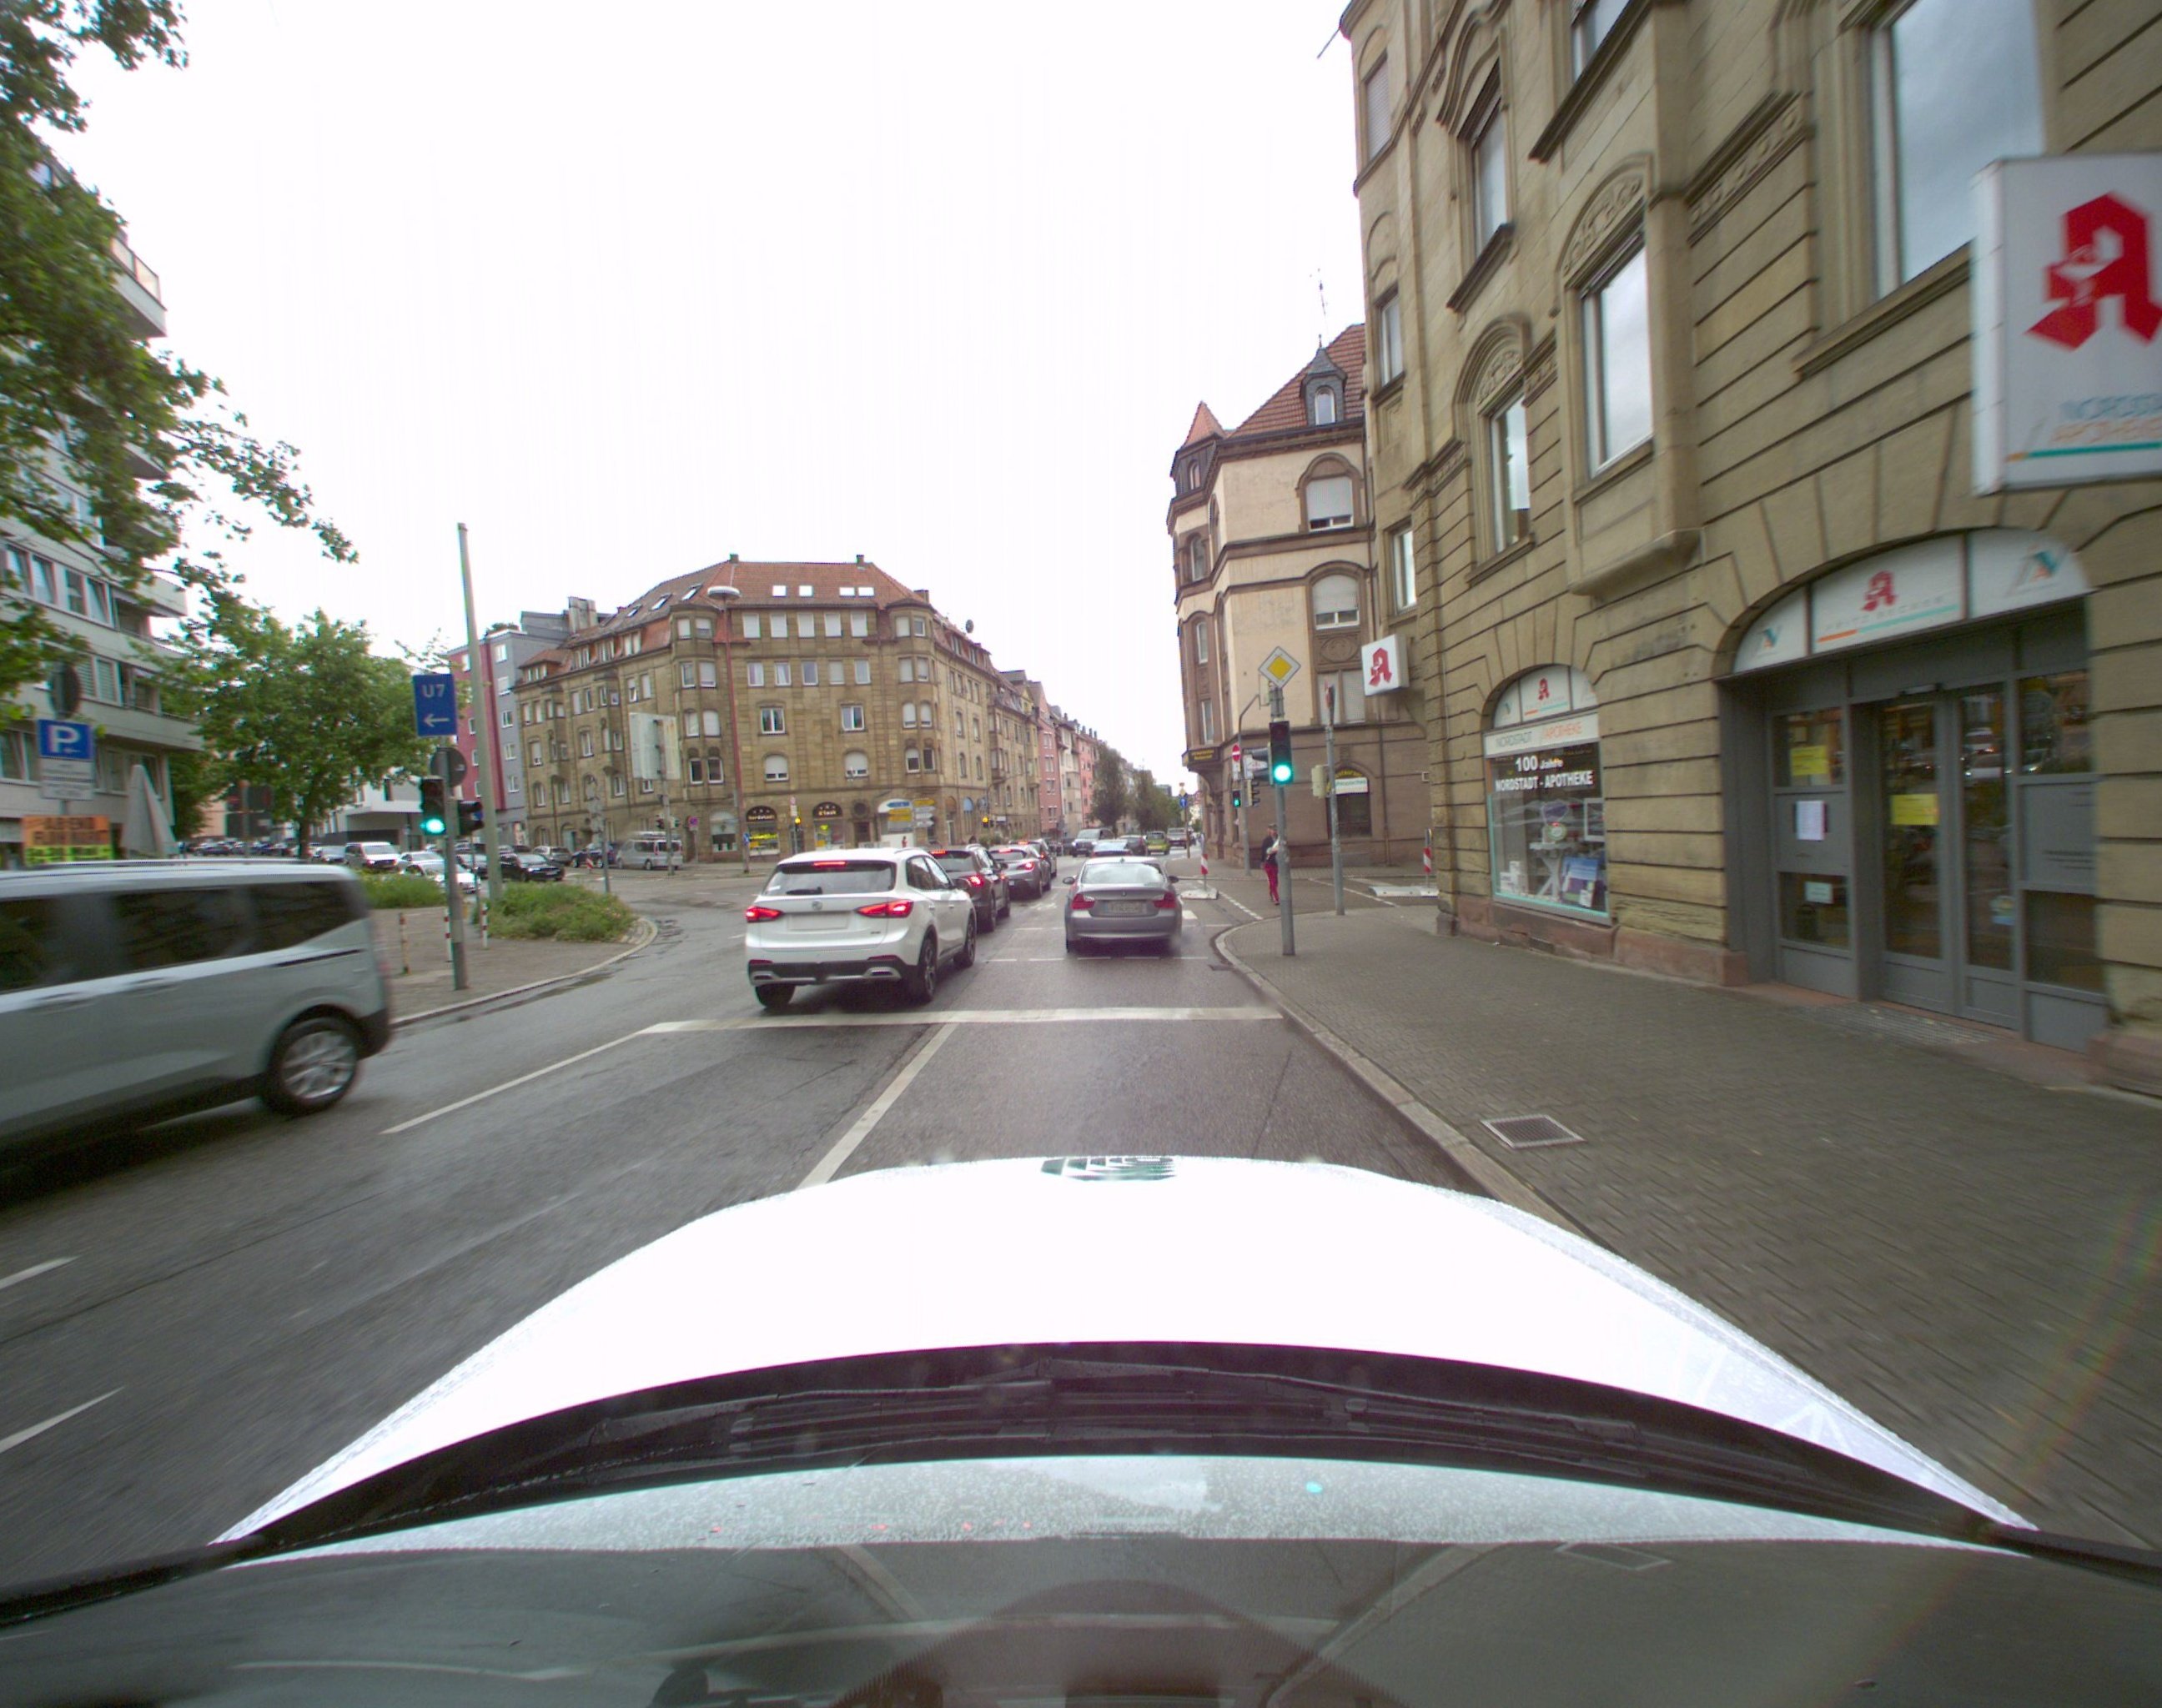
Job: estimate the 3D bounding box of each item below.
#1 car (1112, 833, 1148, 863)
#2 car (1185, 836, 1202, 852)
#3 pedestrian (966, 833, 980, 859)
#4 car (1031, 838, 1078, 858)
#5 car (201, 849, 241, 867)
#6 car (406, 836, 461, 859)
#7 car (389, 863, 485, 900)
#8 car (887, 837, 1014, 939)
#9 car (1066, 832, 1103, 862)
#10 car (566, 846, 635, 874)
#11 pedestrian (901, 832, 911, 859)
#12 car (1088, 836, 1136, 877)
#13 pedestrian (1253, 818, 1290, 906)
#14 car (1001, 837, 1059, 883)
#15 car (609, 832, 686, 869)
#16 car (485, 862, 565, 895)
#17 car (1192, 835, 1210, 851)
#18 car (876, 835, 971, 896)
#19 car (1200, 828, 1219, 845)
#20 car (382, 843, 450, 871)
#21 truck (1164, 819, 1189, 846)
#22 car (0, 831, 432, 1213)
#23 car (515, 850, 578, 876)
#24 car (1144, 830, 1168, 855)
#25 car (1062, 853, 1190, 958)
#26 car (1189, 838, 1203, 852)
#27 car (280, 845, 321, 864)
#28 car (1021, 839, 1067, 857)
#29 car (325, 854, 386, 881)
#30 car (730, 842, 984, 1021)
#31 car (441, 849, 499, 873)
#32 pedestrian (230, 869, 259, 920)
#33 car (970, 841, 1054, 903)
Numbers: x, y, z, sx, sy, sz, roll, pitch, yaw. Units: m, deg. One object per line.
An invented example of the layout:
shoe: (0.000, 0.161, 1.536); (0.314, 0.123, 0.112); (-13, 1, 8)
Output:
car: (2.708, -0.333, 44.144); (1.689, 1.483, 3.800); (-2, 0, 6)
car: (13.697, -1.209, 99.094); (1.802, 1.904, 4.011); (-1, 0, 10)
pedestrian: (-7.385, -0.534, 55.598); (0.829, 1.702, 0.634); (-2, 1, -19)
car: (-2.723, -0.605, 84.495); (4.659, 1.938, 1.863); (-2, 1, 0)
car: (-88.032, 0.419, 83.334); (4.161, 1.704, 1.708); (-1, 1, 29)
car: (-52.710, -0.525, 66.272); (4.161, 1.704, 2.013); (-1, 1, 29)
car: (-28.782, 1.219, 36.368); (4.336, 1.491, 1.926); (-1, 1, 31)
car: (-2.498, 0.565, 16.589); (1.746, 1.644, 4.214); (-2, 2, 1)
car: (0.208, -0.474, 56.084); (1.742, 1.846, 4.133); (-4, 1, -10)
car: (-32.108, 0.414, 54.401); (4.325, 1.704, 2.013); (-1, 1, 29)
pedestrian: (-11.677, -0.557, 54.338); (0.523, 1.774, 0.690); (-2, 1, -14)
car: (1.201, 0.079, 31.031); (1.675, 1.428, 3.744); (-2, 0, 3)
pedestrian: (4.400, 0.164, 18.851); (0.694, 1.949, 1.094); (-2, 2, 9)
car: (-1.834, 0.203, 30.438); (1.746, 1.535, 4.216); (-2, 0, 1)
car: (-27.764, -0.224, 52.120); (4.743, 2.168, 2.013); (-1, 1, 29)
car: (-28.302, 1.231, 41.419); (3.972, 1.491, 1.778); (-1, 3, 31)
car: (12.386, -1.180, 84.021); (1.788, 1.564, 4.504); (-2, 1, 9)
car: (-5.184, 0.332, 27.254); (1.704, 1.496, 3.693); (-11, 1, 9)
car: (14.127, -1.909, 89.324); (1.867, 1.731, 4.690); (-2, 1, 10)
car: (-39.500, 0.183, 48.353); (4.247, 1.537, 1.750); (-1, 3, 31)
truck: (8.989, -1.989, 76.453); (2.020, 2.412, 4.839); (-2, 0, 9)
car: (-6.276, 0.925, 4.436); (1.807, 1.881, 4.243); (-7, 0, 1)
car: (-38.230, 0.663, 58.223); (4.161, 1.704, 2.013); (-1, 1, 29)
car: (5.051, -0.729, 54.519); (1.441, 1.565, 3.339); (-2, 0, 6)
car: (0.666, 0.712, 13.163); (1.763, 1.428, 3.742); (-1, 0, 1)
car: (15.263, -1.215, 107.845); (1.767, 1.798, 4.011); (-1, 0, 10)
car: (-77.987, 0.058, 81.368); (4.161, 1.704, 1.708); (-1, 1, 29)
car: (-3.590, -0.584, 79.457); (4.122, 1.510, 1.878); (-3, 1, 9)
car: (-45.619, 0.848, 51.197); (4.101, 1.538, 1.749); (-2, 0, 31)
car: (-2.398, 0.731, 9.952); (1.746, 1.644, 4.380); (-2, 0, 1)
car: (-47.850, 0.554, 63.727); (4.161, 1.704, 2.013); (-1, 1, 29)
pedestrian: (-28.960, 1.399, 28.203); (0.612, 1.693, 0.629); (-1, 1, 45)
car: (-1.885, 0.443, 23.487); (1.745, 1.482, 4.185); (-3, 1, 3)
